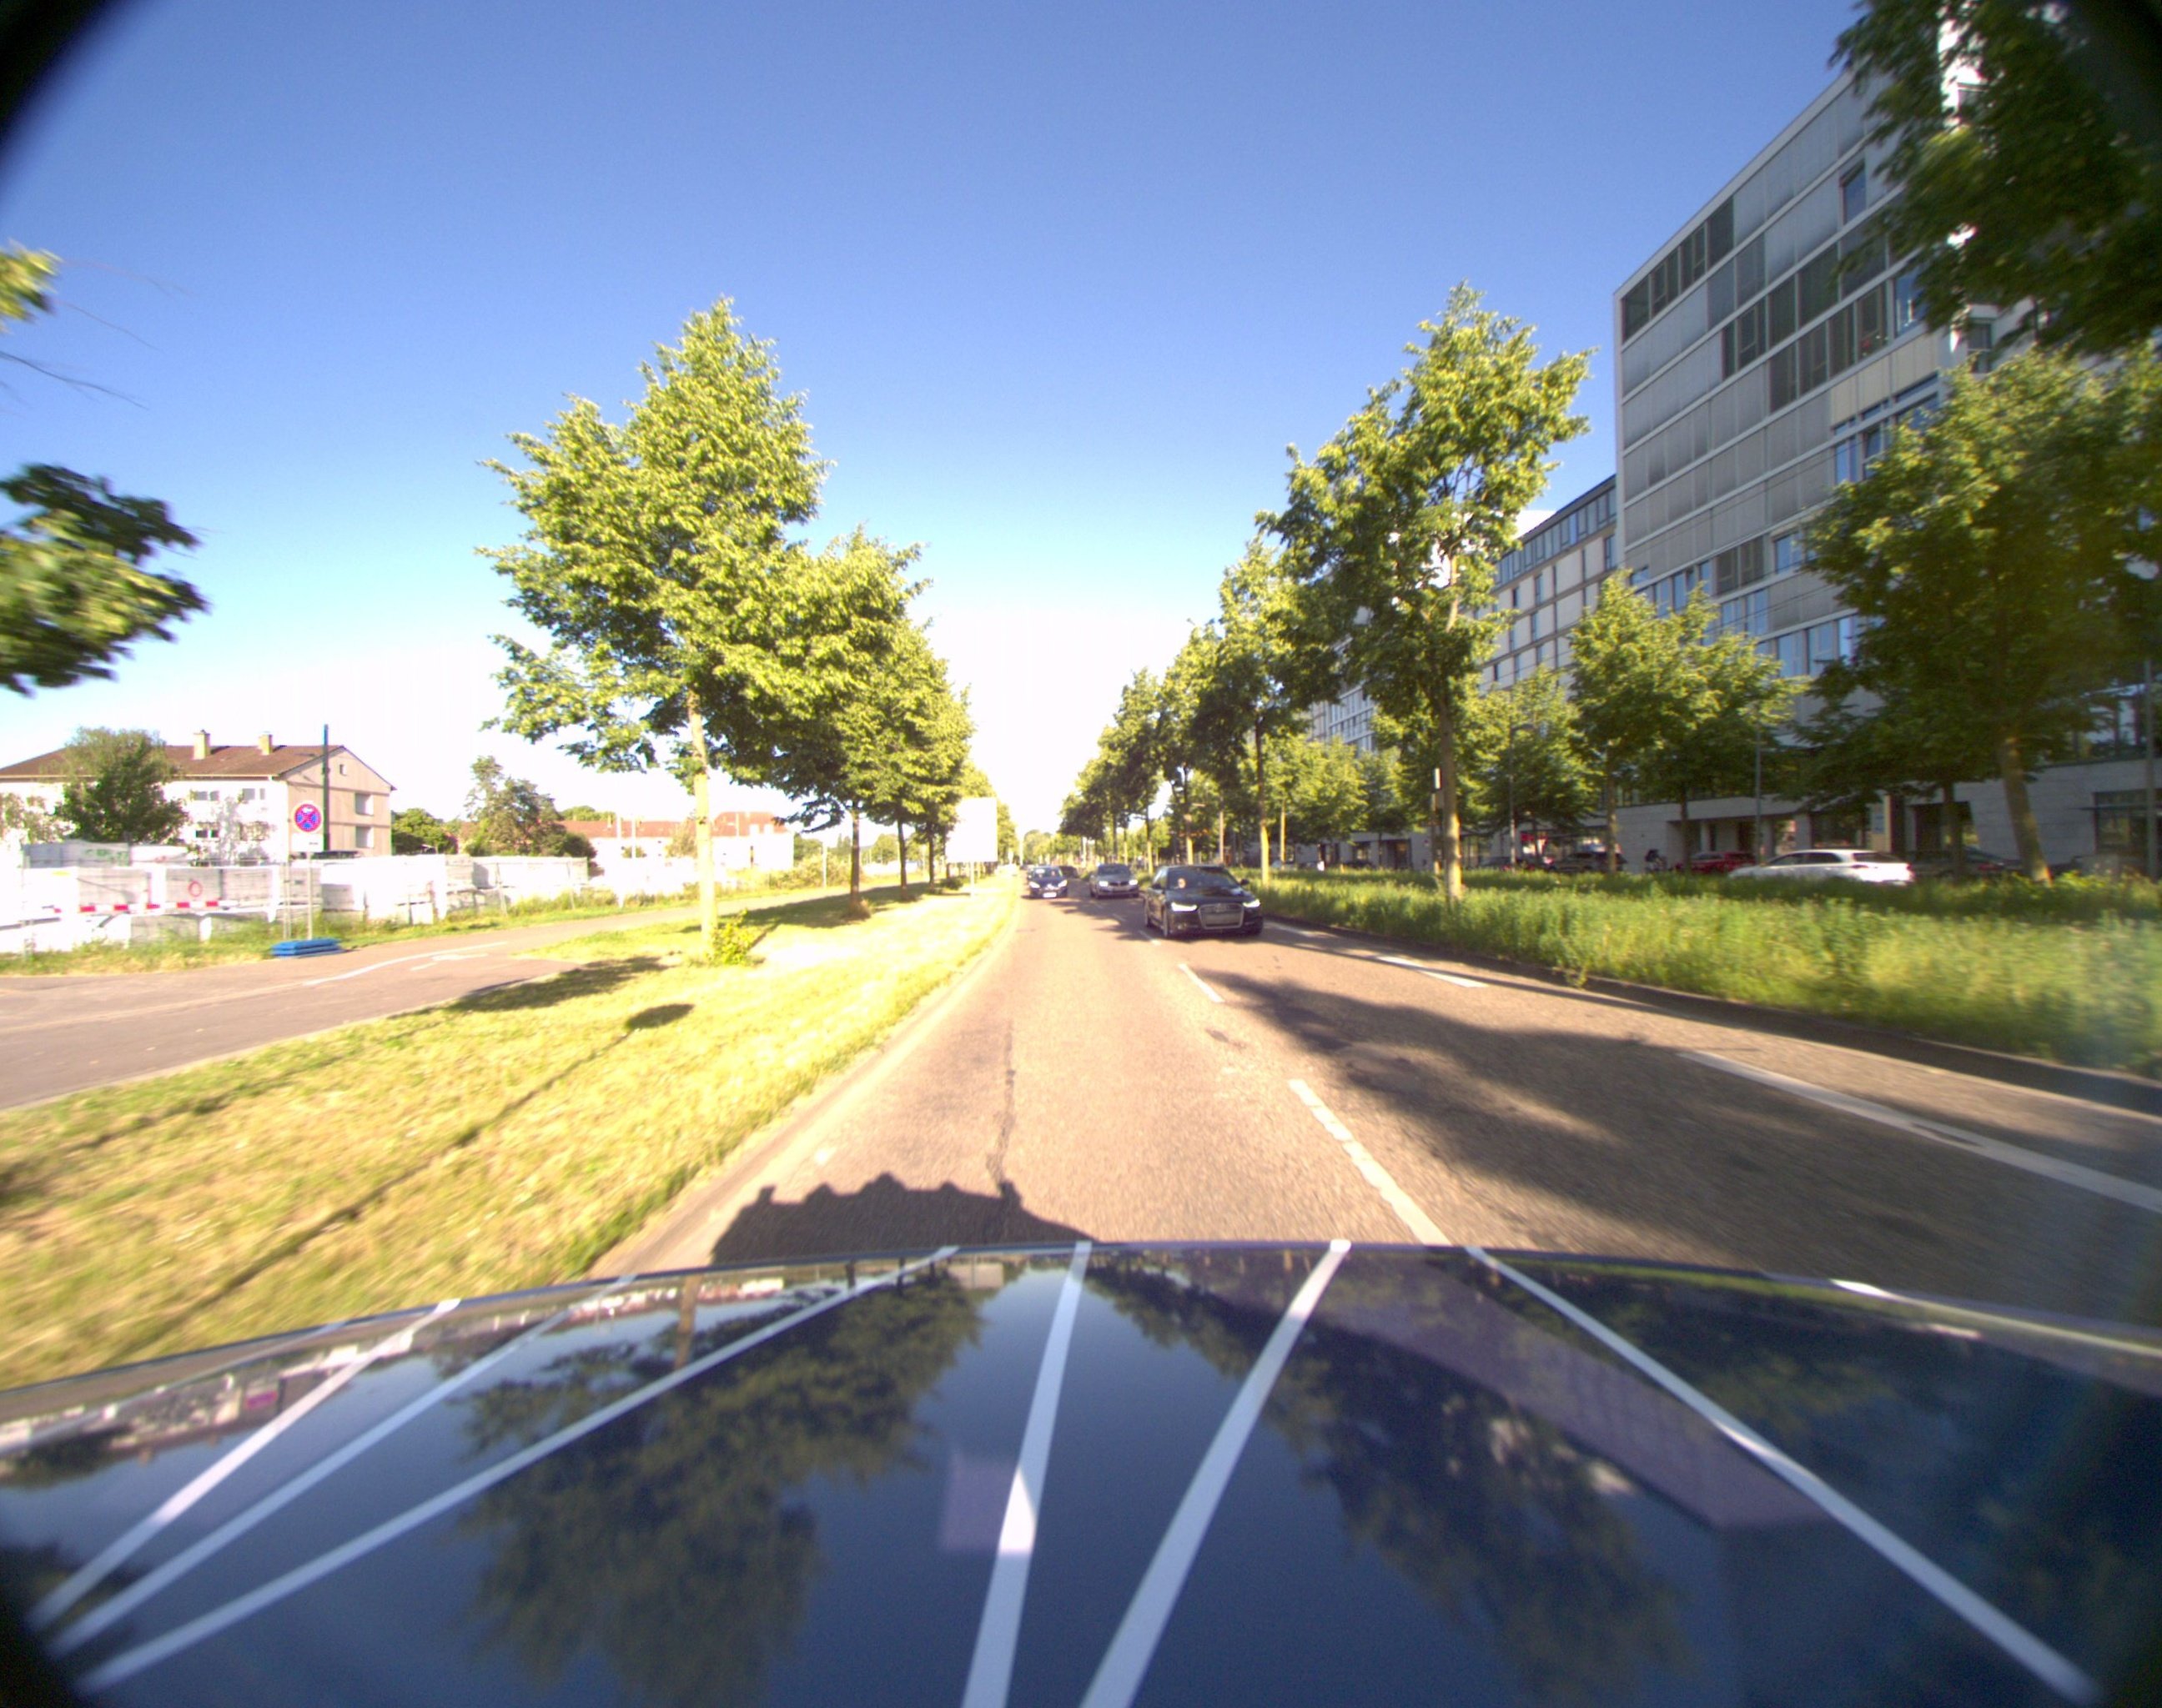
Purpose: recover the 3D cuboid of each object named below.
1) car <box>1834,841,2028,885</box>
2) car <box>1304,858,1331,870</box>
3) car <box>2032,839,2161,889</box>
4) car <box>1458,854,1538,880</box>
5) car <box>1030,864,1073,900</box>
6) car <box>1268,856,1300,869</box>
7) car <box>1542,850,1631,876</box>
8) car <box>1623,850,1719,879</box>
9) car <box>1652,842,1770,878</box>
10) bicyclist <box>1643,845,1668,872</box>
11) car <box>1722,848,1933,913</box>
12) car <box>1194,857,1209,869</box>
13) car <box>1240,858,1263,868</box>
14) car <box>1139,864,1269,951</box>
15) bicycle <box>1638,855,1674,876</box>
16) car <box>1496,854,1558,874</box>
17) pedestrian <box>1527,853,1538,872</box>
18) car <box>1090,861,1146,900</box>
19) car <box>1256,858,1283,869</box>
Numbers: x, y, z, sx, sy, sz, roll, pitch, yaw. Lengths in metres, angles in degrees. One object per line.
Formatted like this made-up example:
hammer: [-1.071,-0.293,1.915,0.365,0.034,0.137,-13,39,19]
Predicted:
car: [30.489,0.317,27.505,1.720,1.411,4.543,-2,0,-4]
car: [26.240,1.119,84.480,1.655,1.228,3.463,-2,1,-5]
car: [31.416,0.265,22.084,1.720,1.411,4.544,-2,-1,-3]
car: [22.113,0.657,40.462,1.803,1.256,3.999,-2,0,-4]
car: [-1.450,1.262,35.691,1.764,1.506,3.946,-2,0,-5]
car: [20.928,0.879,78.352,1.803,1.284,4.310,-1,-2,-5]
car: [29.353,0.535,44.355,1.673,1.411,4.803,-2,-1,-5]
car: [29.763,0.533,38.503,1.738,1.346,3.752,-2,0,-5]
car: [34.211,0.388,41.497,1.803,1.766,5.127,-3,-1,-6]
bicyclist: [31.956,0.266,42.271,0.722,1.455,0.832,-2,0,-2]
car: [22.080,0.768,22.758,1.803,1.678,4.320,-3,-1,-5]
car: [22.127,1.618,139.619,1.805,1.915,3.998,-2,1,-3]
car: [24.348,1.292,108.709,1.964,1.411,4.543,-2,-1,-4]
car: [2.428,1.000,16.175,1.789,1.518,4.600,-2,-1,-3]
bicycle: [31.972,0.621,42.275,0.734,1.113,1.570,-2,0,-2]
car: [28.931,0.624,49.405,1.673,1.200,3.581,-2,0,-5]
pedestrian: [34.902,0.646,58.726,0.409,1.404,0.690,-2,1,-4]
car: [1.547,1.136,33.546,1.850,1.559,4.527,-2,-1,-5]
car: [25.147,1.282,101.459,2.005,1.411,4.543,-2,0,-6]
